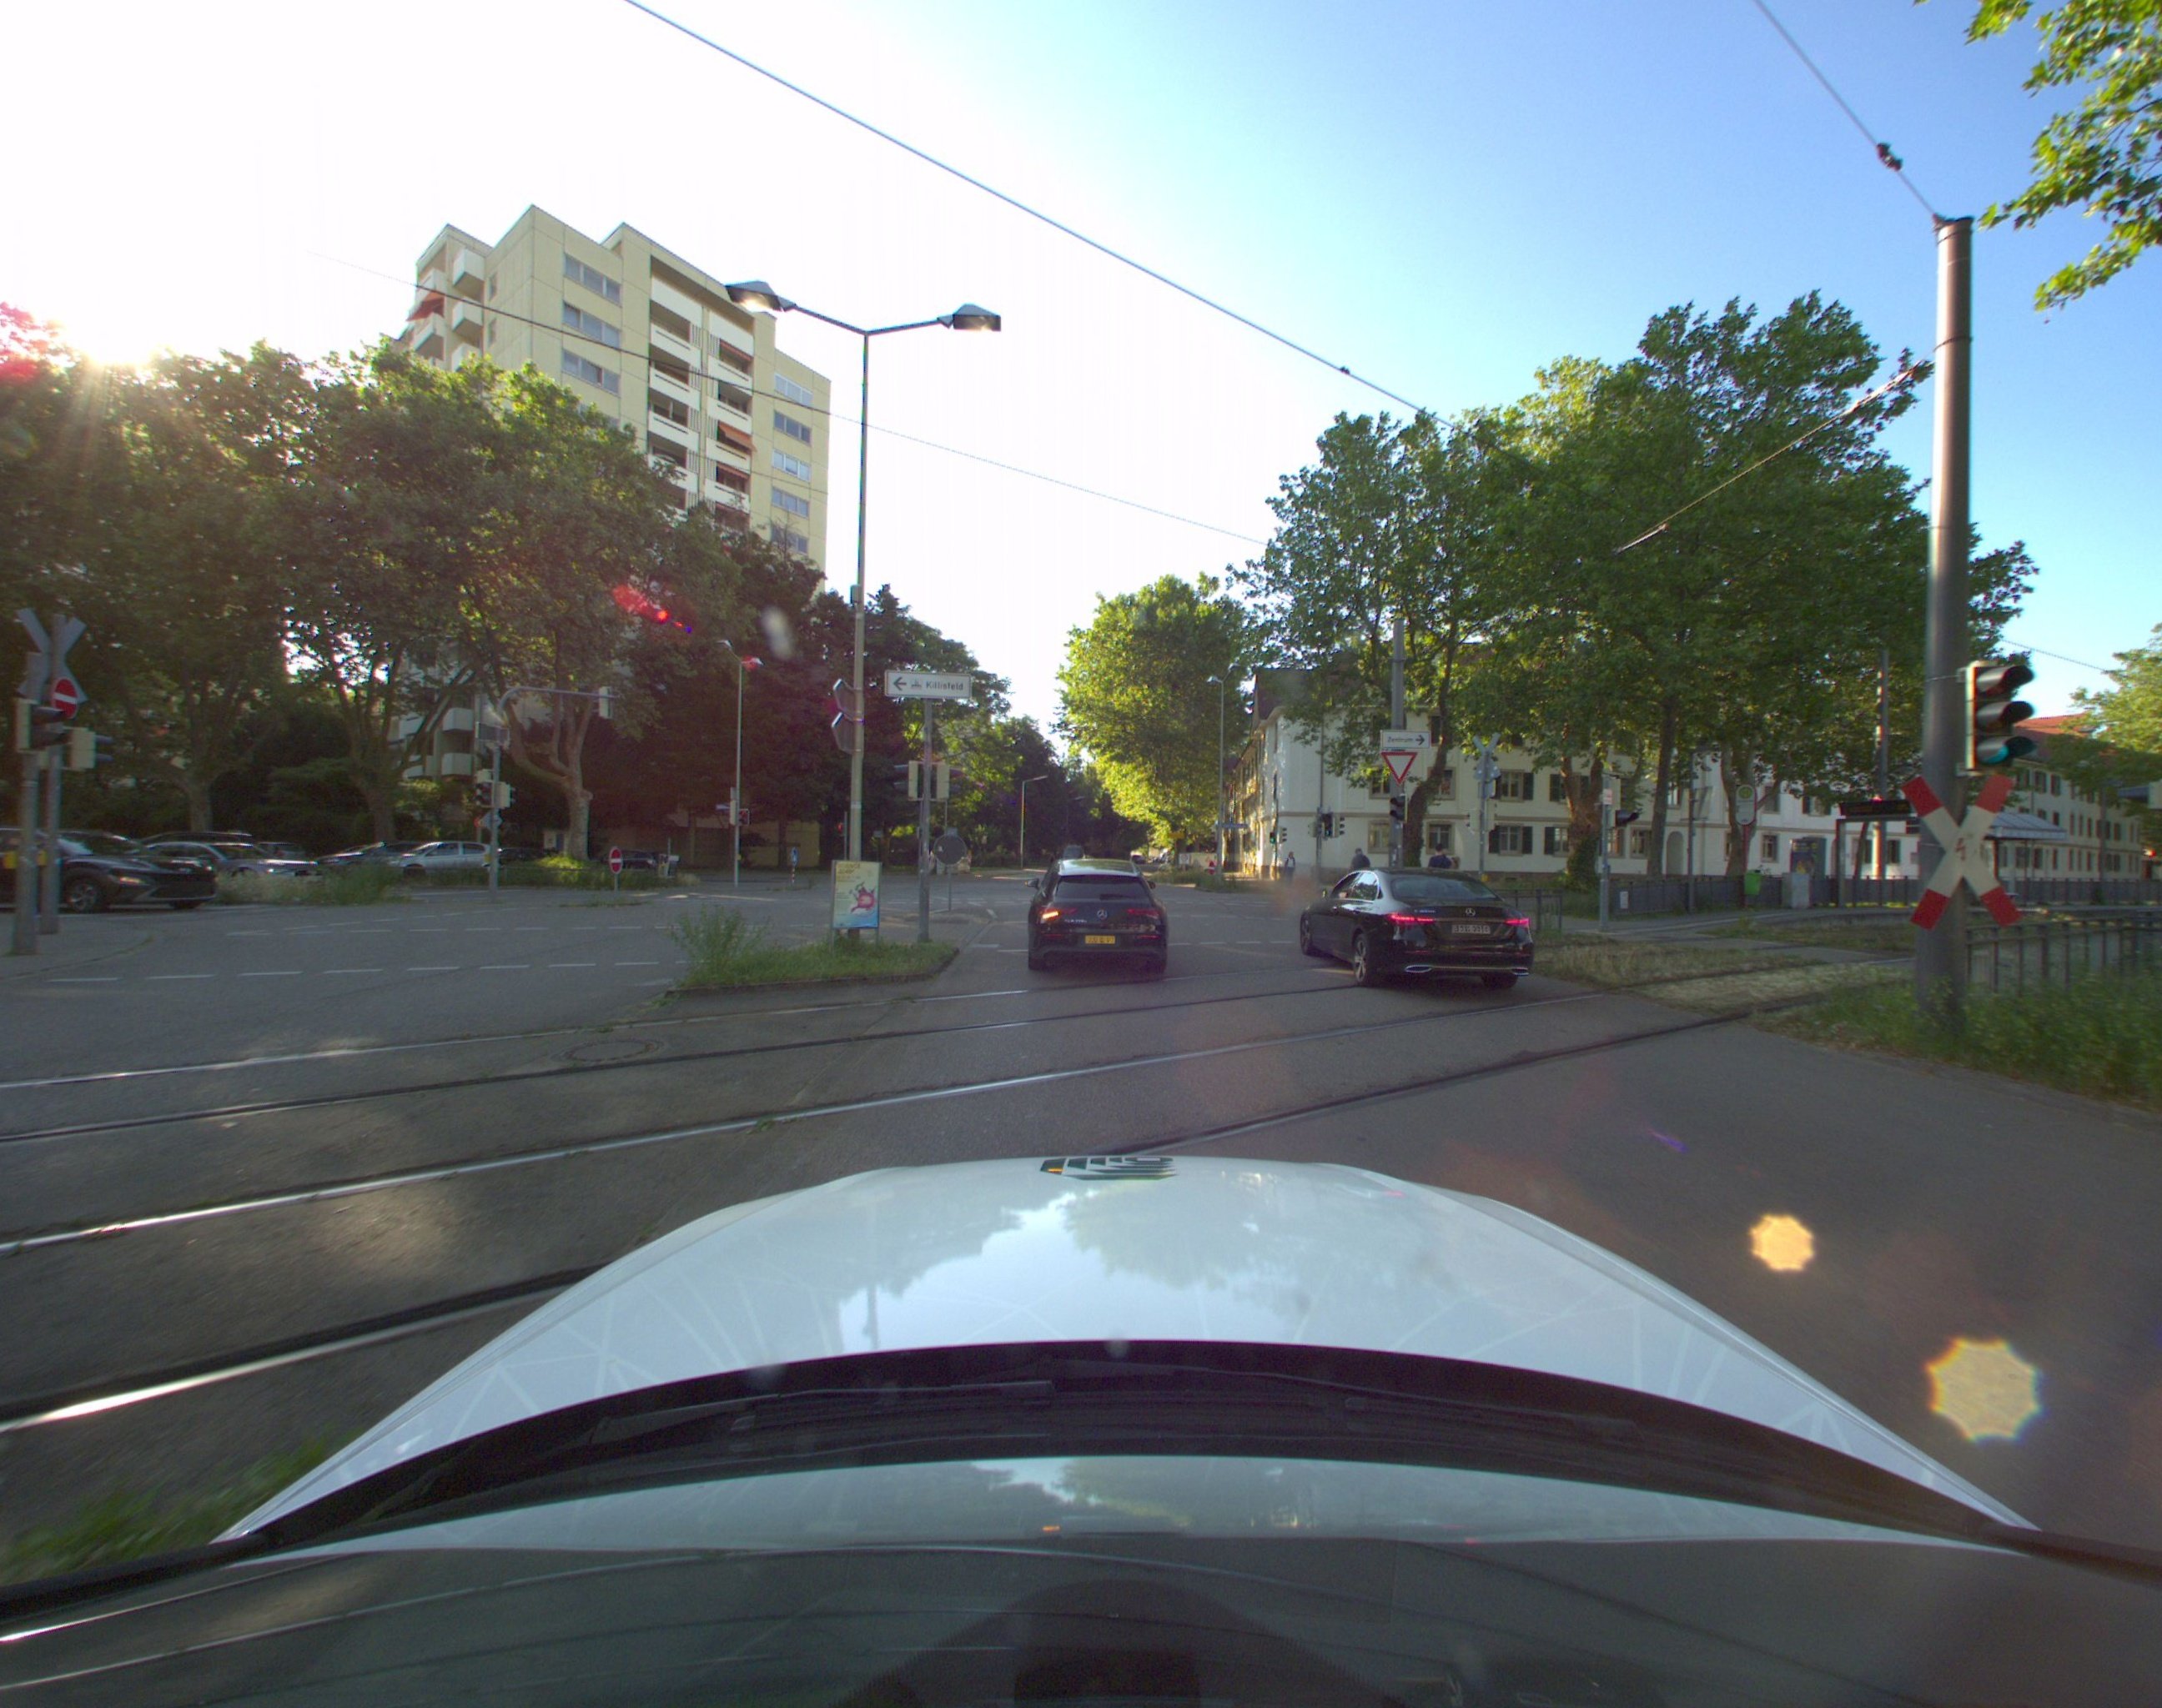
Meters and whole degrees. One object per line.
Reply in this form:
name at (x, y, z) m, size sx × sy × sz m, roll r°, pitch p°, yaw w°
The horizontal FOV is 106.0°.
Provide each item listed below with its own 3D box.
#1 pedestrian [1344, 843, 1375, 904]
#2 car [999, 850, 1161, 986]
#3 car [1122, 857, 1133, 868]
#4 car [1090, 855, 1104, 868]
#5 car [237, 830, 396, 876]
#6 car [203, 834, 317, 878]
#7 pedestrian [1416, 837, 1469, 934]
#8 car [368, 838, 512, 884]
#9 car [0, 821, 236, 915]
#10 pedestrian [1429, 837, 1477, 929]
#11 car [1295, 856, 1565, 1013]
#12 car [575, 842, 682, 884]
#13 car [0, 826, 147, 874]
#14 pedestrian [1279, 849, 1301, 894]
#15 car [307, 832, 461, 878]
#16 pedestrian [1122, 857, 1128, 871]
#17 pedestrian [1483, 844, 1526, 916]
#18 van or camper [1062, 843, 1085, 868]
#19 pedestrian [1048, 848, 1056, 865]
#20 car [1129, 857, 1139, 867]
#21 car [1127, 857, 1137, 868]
pedestrian at (9.095, 0.632, 26.593) m, size 0.702 × 1.918 × 0.839 m, roll 2°, pitch -1°, yaw 1°
car at (0.174, 0.740, 11.617) m, size 1.880 × 1.450 × 4.007 m, roll 2°, pitch 2°, yaw 6°
car at (7.608, 1.429, 132.851) m, size 1.726 × 1.765 × 4.023 m, roll 2°, pitch -1°, yaw 4°
car at (2.249, 1.037, 113.967) m, size 1.726 × 1.765 × 3.975 m, roll 2°, pitch -1°, yaw 4°
car at (-28.629, 0.002, 30.625) m, size 1.716 × 1.596 × 4.025 m, roll 1°, pitch -1°, yaw 34°
car at (-40.112, 0.095, 39.842) m, size 3.961 × 2.014 × 2.006 m, roll 2°, pitch -1°, yaw 11°
pedestrian at (7.365, 0.639, 16.619) m, size 0.704 × 1.918 × 0.683 m, roll 2°, pitch -1°, yaw -6°
car at (-23.739, 0.280, 30.298) m, size 1.716 × 1.596 × 3.831 m, roll 1°, pitch -1°, yaw 34°
car at (-18.905, 0.235, 15.319) m, size 3.977 × 1.596 × 1.736 m, roll 2°, pitch -1°, yaw -3°
pedestrian at (7.971, 0.612, 17.491) m, size 0.680 × 1.918 × 0.707 m, roll 2°, pitch -1°, yaw 0°
car at (4.327, 0.870, 10.963) m, size 1.882 × 1.490 × 4.385 m, roll 2°, pitch 2°, yaw 2°
car at (-21.126, 0.412, 38.092) m, size 3.961 × 1.774 × 2.006 m, roll 2°, pitch -1°, yaw 11°
car at (-36.289, -0.113, 28.809) m, size 1.716 × 1.596 × 4.025 m, roll 1°, pitch -1°, yaw 34°
pedestrian at (8.994, 0.755, 35.106) m, size 0.702 × 1.918 × 0.839 m, roll 2°, pitch -1°, yaw 1°
car at (-26.020, 0.086, 30.532) m, size 1.716 × 1.596 × 4.025 m, roll 1°, pitch -1°, yaw 34°
pedestrian at (6.390, 1.413, 117.318) m, size 0.704 × 1.918 × 0.837 m, roll 2°, pitch -1°, yaw -6°
pedestrian at (11.579, 0.709, 22.295) m, size 0.702 × 1.918 × 0.839 m, roll 2°, pitch -1°, yaw 1°
van or camper at (-0.795, 0.202, 87.431) m, size 1.984 × 2.541 × 4.656 m, roll 2°, pitch -1°, yaw 4°
pedestrian at (-3.321, 0.325, 93.159) m, size 0.701 × 1.918 × 0.841 m, roll 1°, pitch -1°, yaw 10°
car at (9.447, 1.399, 145.655) m, size 1.726 × 1.765 × 4.023 m, roll 2°, pitch -1°, yaw 4°
car at (8.627, 1.442, 137.596) m, size 1.726 × 1.765 × 4.023 m, roll 2°, pitch -1°, yaw 4°
